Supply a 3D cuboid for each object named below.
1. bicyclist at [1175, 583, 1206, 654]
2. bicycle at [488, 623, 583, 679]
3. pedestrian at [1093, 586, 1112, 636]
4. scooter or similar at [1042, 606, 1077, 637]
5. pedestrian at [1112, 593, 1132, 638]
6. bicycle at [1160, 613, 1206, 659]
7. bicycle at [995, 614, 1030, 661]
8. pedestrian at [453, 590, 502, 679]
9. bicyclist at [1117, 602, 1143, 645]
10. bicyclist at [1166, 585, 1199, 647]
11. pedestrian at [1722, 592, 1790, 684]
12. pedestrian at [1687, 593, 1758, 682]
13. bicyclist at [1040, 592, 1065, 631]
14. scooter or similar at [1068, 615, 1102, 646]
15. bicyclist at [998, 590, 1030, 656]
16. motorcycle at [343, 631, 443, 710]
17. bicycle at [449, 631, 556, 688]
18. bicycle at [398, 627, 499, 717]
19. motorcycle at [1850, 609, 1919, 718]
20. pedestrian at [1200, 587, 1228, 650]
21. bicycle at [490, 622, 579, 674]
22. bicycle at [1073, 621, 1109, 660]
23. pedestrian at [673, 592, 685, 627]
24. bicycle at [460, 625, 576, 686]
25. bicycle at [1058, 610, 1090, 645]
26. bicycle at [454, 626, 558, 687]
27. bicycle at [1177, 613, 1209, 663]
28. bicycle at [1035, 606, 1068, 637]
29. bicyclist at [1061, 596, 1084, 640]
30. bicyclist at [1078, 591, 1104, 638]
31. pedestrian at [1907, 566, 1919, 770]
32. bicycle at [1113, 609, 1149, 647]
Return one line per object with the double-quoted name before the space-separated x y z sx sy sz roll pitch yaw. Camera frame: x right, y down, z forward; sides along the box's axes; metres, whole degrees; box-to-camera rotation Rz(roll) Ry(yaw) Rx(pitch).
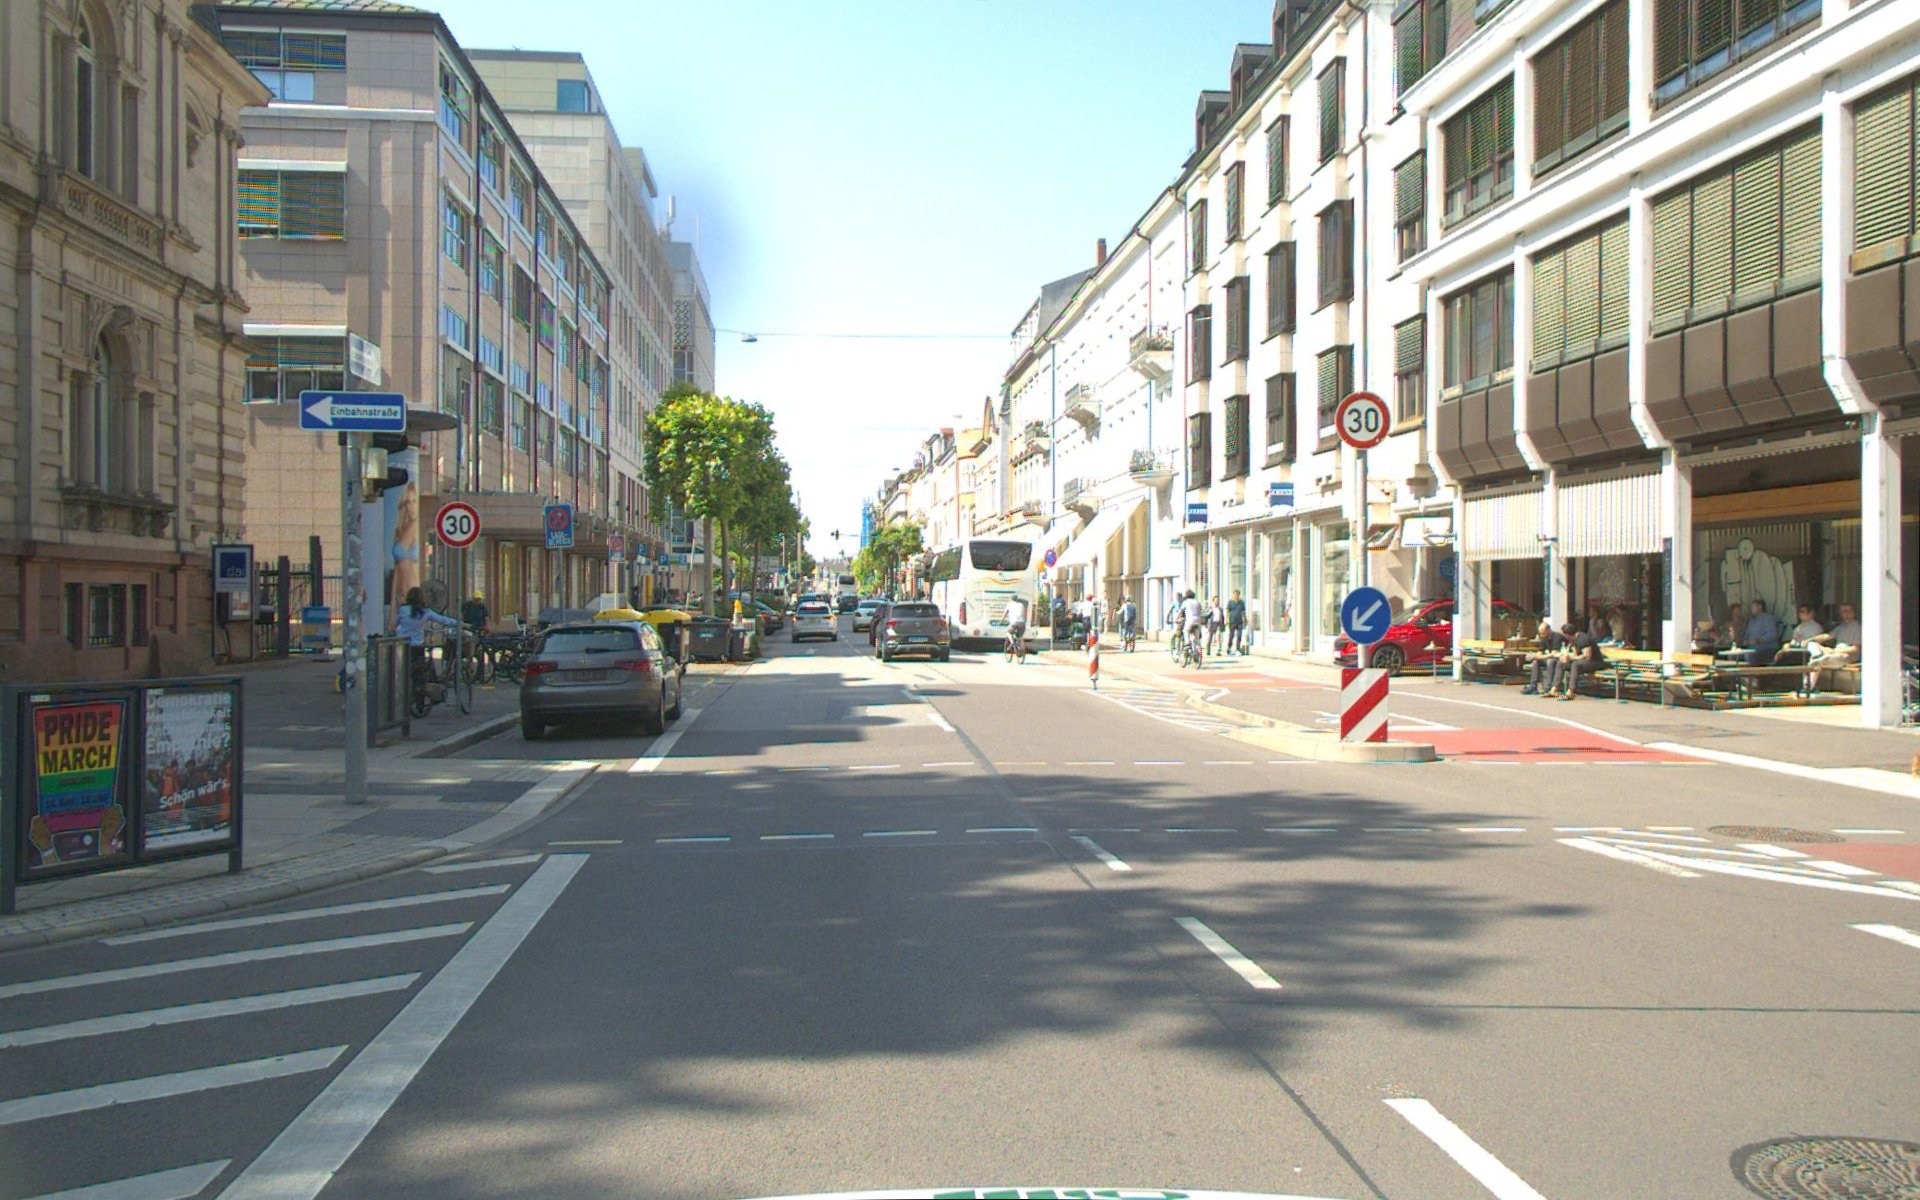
"bicyclist" 5.451 0.433 39.182 0.680 1.654 0.836 -1 -1 5
"bicycle" -9.292 1.119 36.260 1.937 1.140 0.508 2 -2 -9
"pedestrian" 5.161 0.397 60.082 0.562 1.810 1.019 0 -2 -2
"scooter or similar" 3.569 0.768 59.471 1.100 1.121 1.084 0 -1 -7
"pedestrian" 5.945 0.561 60.834 0.632 1.646 0.821 0 -2 -2
"bicycle" 5.615 0.896 41.768 0.608 1.118 2.349 1 -1 -7
"bicycle" 1.390 0.977 44.072 0.651 1.140 2.241 2 1 -5
"pedestrian" -9.627 0.685 33.028 0.873 1.755 0.746 0 -1 -12
"bicyclist" 5.180 0.713 50.406 0.608 1.319 0.865 1 -1 -7
"bicyclist" 5.614 0.397 41.761 0.608 1.556 0.868 1 -1 -7
"pedestrian" 12.577 0.599 26.146 0.697 1.421 0.696 0 -2 -6
"pedestrian" 12.437 0.612 26.977 0.797 1.421 0.695 0 -1 -7
"bicyclist" 3.404 0.419 60.871 0.772 1.403 0.721 1 -1 -7
"scooter or similar" 3.925 0.954 51.920 0.849 0.973 1.211 1 -1 -7
"bicyclist" 1.427 0.603 43.806 0.681 1.702 0.915 2 1 -4
"motorcycle" -7.738 0.941 22.676 0.444 1.015 2.161 2 -1 4
"bicycle" -8.829 1.151 31.934 1.931 1.035 0.668 2 -2 -17
"bicycle" -6.877 0.959 22.347 0.420 1.140 2.244 2 -2 6
"motorcycle" 12.227 0.769 20.294 2.190 1.313 0.948 -1 -2 23
"pedestrian" 7.058 0.511 46.049 0.680 1.715 0.836 0 0 3
"bicycle" -9.155 1.032 35.634 1.809 1.092 0.555 -1 -2 -9
"bicycle" 3.896 1.184 49.337 0.608 1.118 2.349 1 -1 -7
"pedestrian" -13.902 0.467 81.776 0.556 1.686 0.634 0 0 -13
"bicycle" -8.903 1.121 33.311 2.200 1.140 0.554 2 -2 -17
"bicycle" 3.680 0.885 53.720 0.608 1.118 2.349 1 -1 -7
"bicycle" -8.955 1.113 32.647 1.928 1.140 0.554 2 -2 -17
"bicycle" 5.549 0.887 39.417 0.582 1.140 1.801 0 0 3
"bicycle" 3.380 0.778 61.165 0.822 1.118 2.349 1 -1 -7
"bicyclist" 3.663 0.585 53.930 0.608 1.394 0.779 1 -1 -7
"bicyclist" 3.901 0.428 49.359 0.608 1.394 0.779 1 -1 -7
"pedestrian" 9.188 0.617 14.969 0.815 1.868 0.697 0 -2 3
"bicycle" 5.192 0.848 50.300 0.608 1.118 2.349 1 -1 -7
